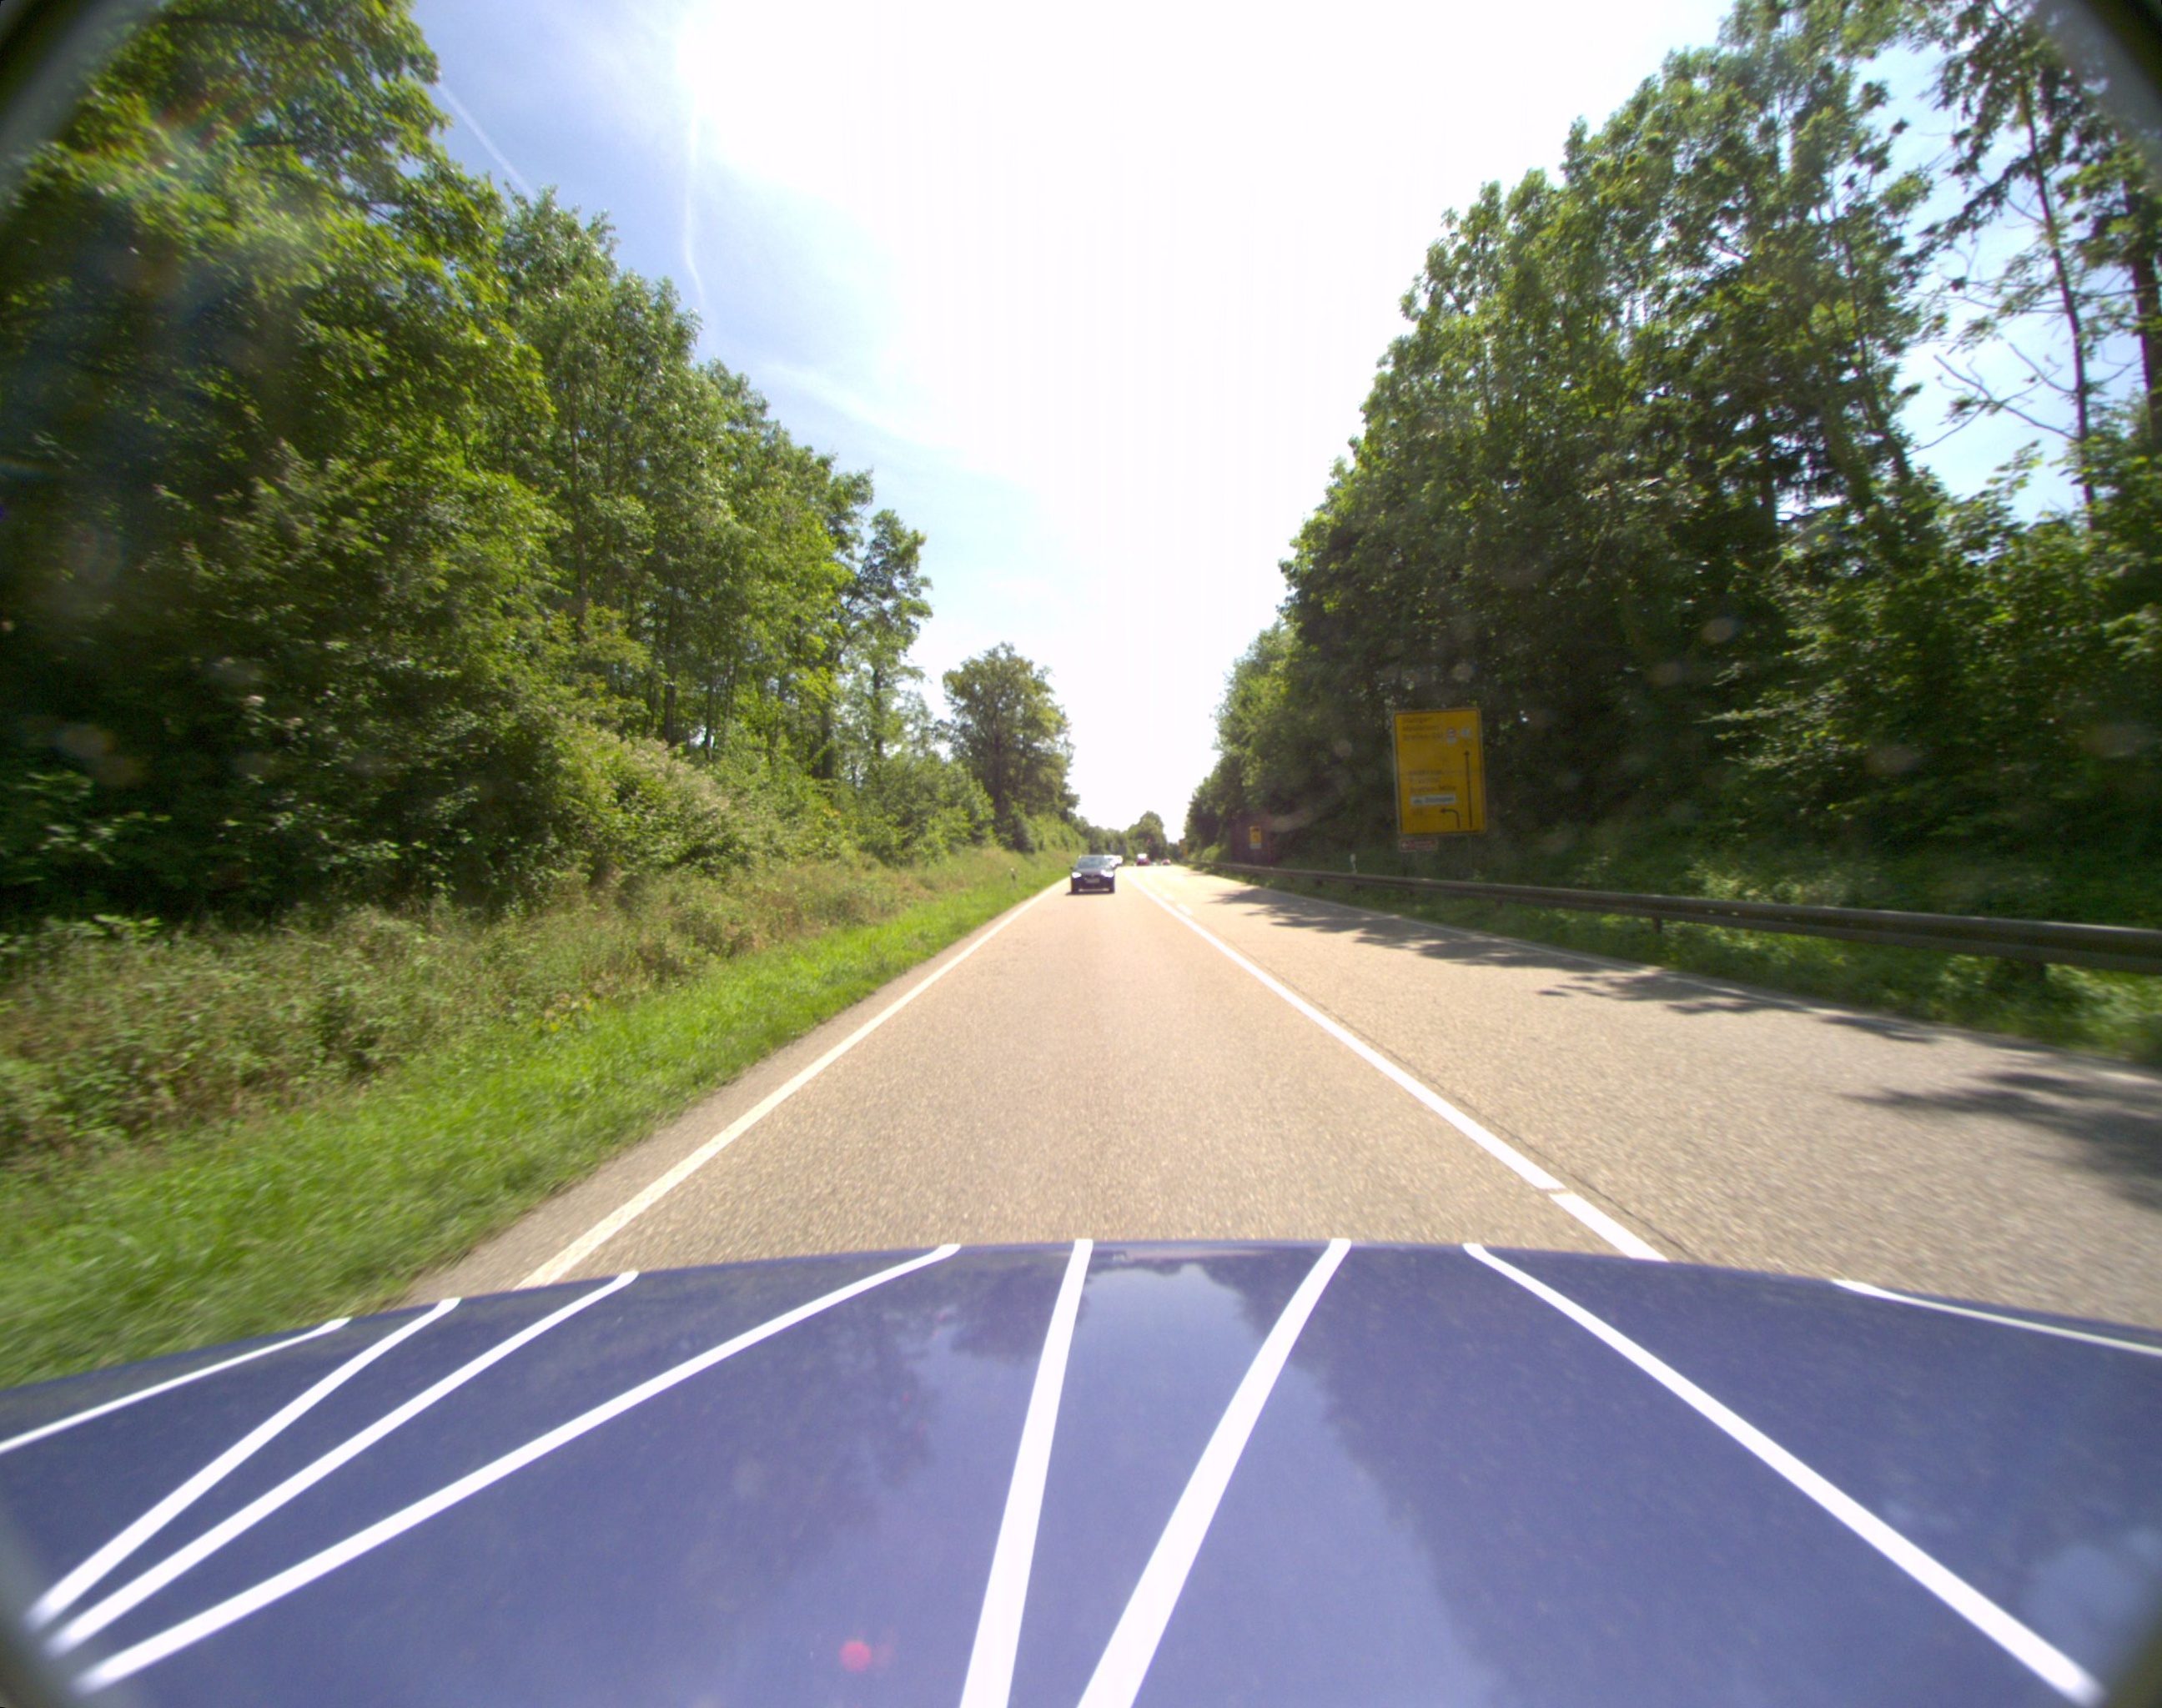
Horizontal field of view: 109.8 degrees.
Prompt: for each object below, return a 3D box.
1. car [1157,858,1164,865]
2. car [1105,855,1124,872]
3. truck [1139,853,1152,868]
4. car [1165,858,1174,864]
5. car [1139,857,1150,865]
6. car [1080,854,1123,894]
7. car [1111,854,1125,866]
[{"bbox_3d":[26.358,2.515,252.456,1.997,2.001,4.004,-4,-1,10],"label":"car"},{"bbox_3d":[3.442,1.013,78.642,1.770,1.673,4.001,-4,-1,1],"label":"car"},{"bbox_3d":[18.031,1.698,211.381,2.838,3.794,8.456,-3,0,9],"label":"truck"},{"bbox_3d":[19.784,1.603,170.520,1.810,1.427,3.873,-1,0,5],"label":"car"},{"bbox_3d":[12.221,1.359,146.322,1.808,1.444,4.389,-2,-1,7],"label":"car"},{"bbox_3d":[0.833,0.792,31.210,1.626,1.535,4.001,1,-1,1],"label":"car"},{"bbox_3d":[6.282,1.017,129.182,1.997,2.001,4.003,-4,-1,7],"label":"car"}]
